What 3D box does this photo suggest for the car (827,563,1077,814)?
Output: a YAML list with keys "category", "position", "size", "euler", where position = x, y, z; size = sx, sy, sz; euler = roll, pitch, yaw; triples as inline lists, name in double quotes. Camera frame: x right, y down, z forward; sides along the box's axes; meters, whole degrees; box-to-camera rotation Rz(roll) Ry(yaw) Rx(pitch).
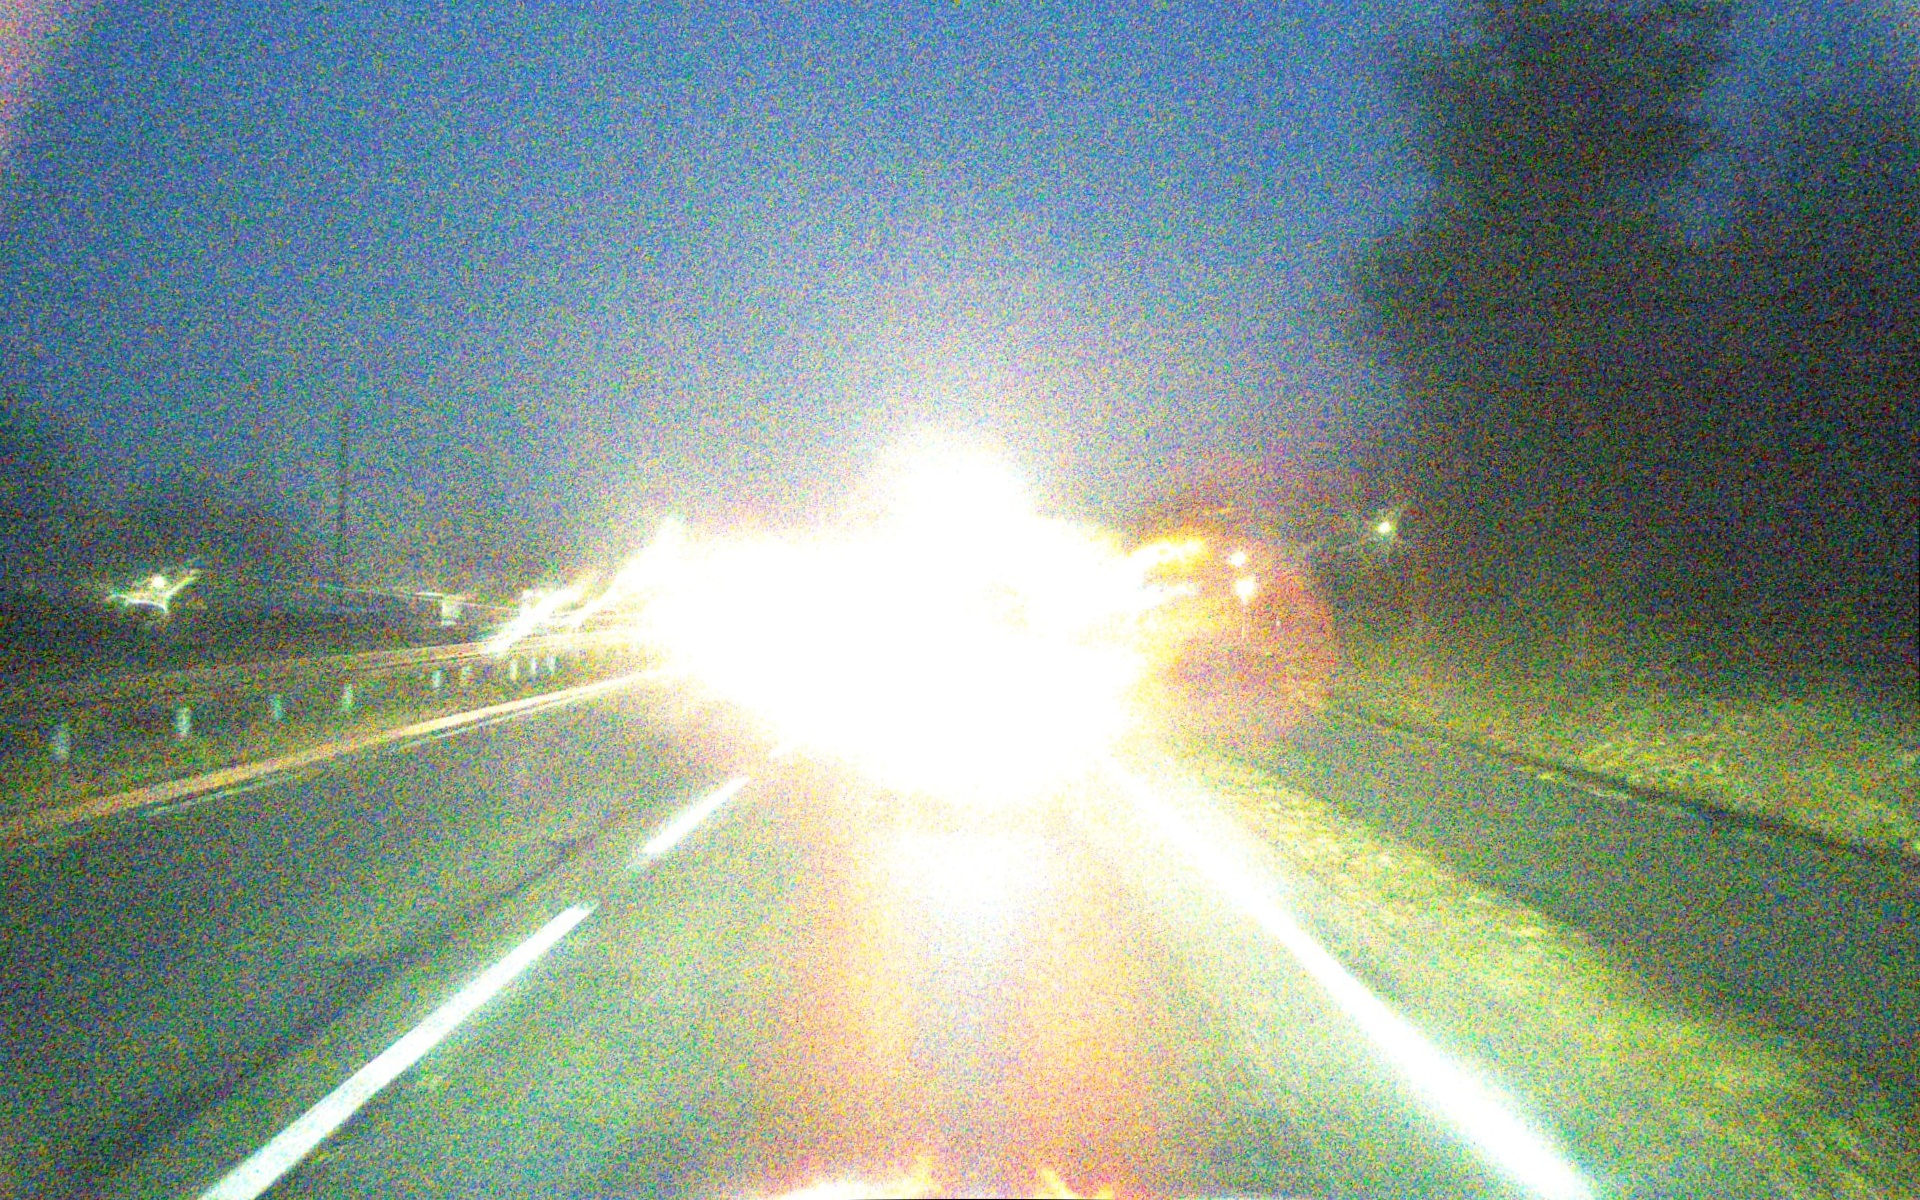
- category: "car"
  position: [-0.064, 0.636, 13.617]
  size: [1.739, 1.742, 3.999]
  euler: [1, -1, 0]
